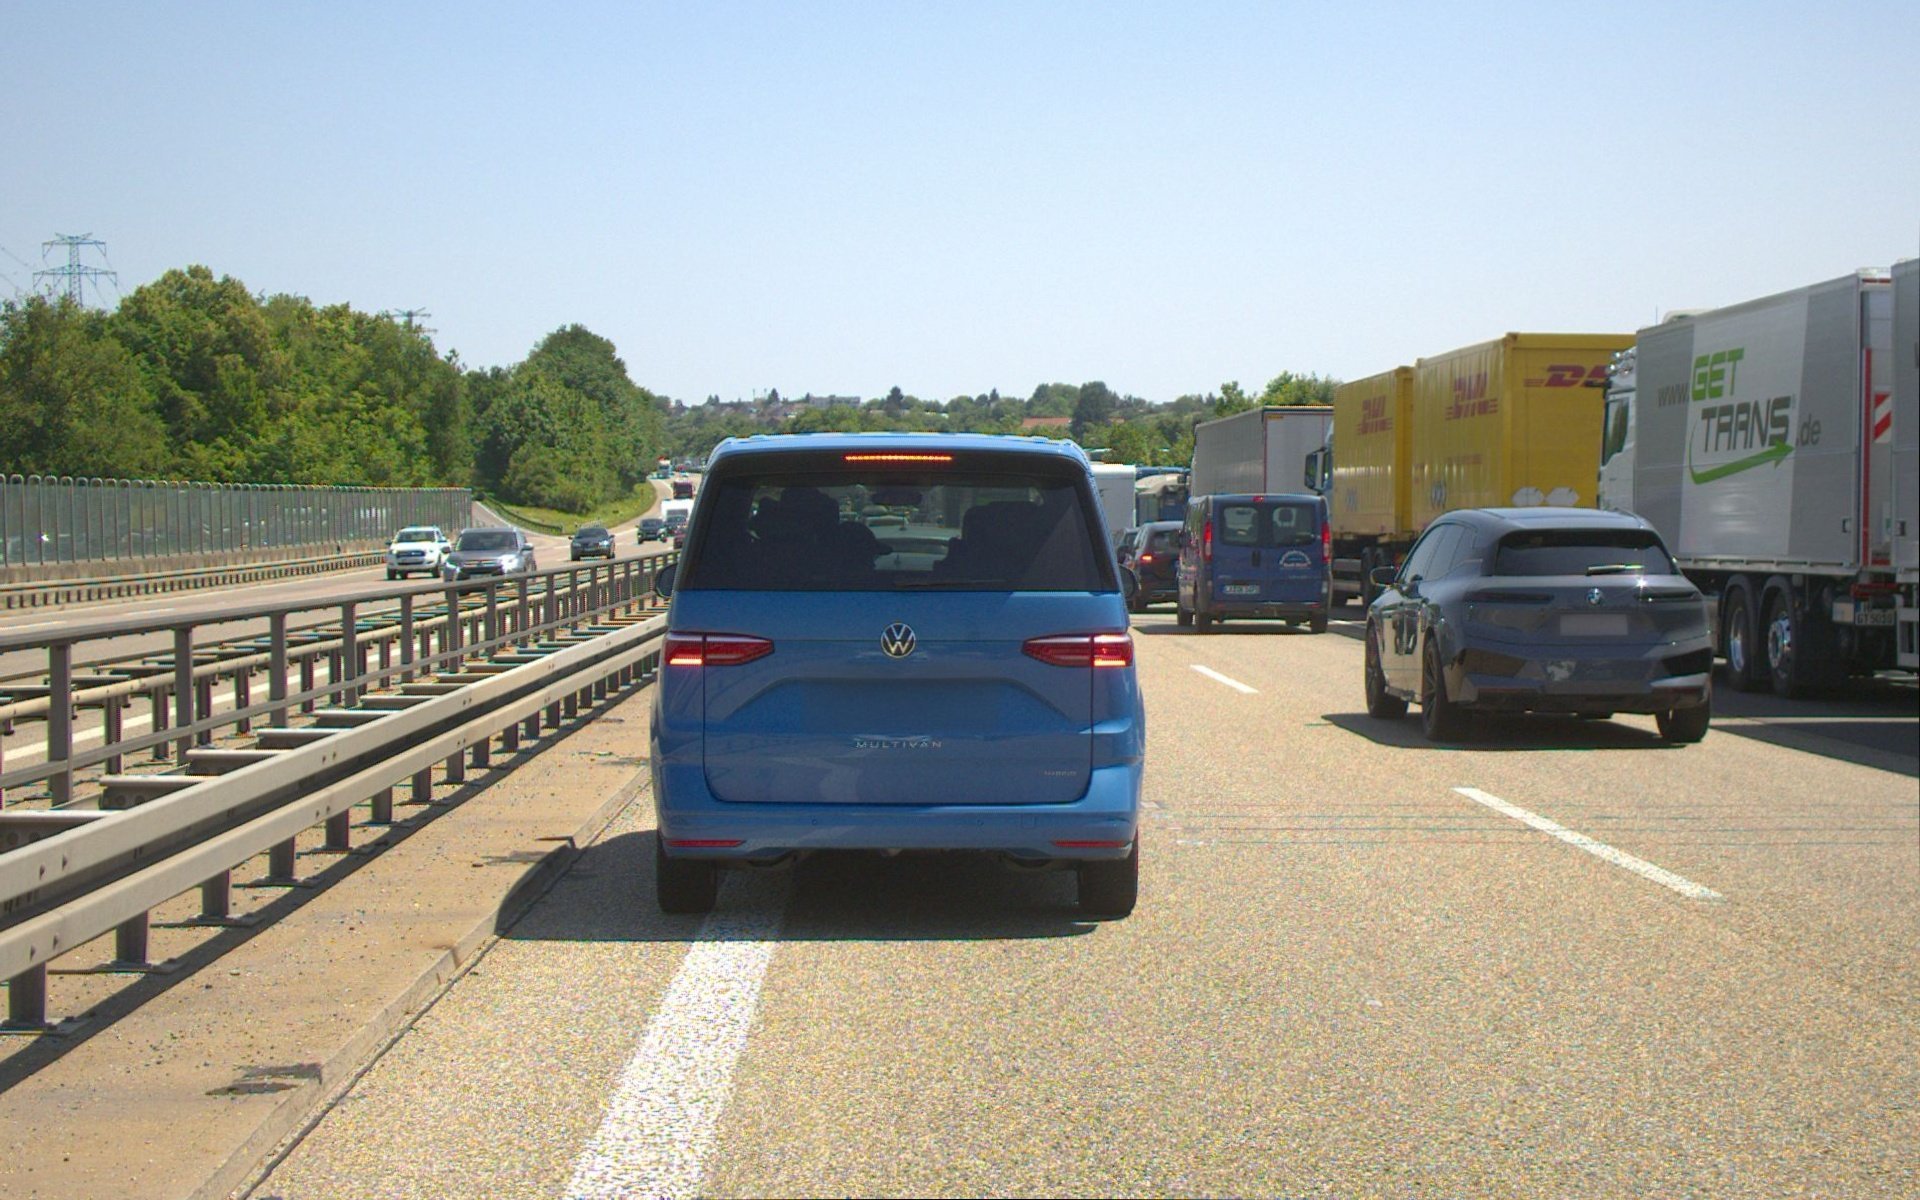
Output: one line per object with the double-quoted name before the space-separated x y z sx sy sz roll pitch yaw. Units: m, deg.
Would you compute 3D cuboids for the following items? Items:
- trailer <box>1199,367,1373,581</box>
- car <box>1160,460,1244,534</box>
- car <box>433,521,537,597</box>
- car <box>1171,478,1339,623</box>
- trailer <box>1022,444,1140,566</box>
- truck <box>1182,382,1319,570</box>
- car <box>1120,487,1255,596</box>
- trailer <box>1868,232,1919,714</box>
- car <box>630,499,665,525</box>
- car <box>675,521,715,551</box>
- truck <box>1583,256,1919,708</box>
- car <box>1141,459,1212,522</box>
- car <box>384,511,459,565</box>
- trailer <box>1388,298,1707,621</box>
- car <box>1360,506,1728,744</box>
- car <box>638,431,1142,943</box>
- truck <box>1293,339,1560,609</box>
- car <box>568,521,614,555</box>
"trailer" 7.299 -2.817 78.521 2.636 4.501 11.302 1 1 -1
"car" 6.766 -2.881 96.517 1.993 2.007 4.000 1 1 -1
"car" -10.859 -0.963 78.835 1.805 1.621 4.478 -2 1 -1
"car" 4.186 -0.735 49.414 1.962 1.986 4.294 0 1 -1
"trailer" 3.094 -2.450 90.450 2.569 2.980 10.663 1 1 -1
"truck" 7.174 -3.026 85.682 2.667 4.469 6.850 1 1 -1
"car" 3.874 -1.030 59.208 1.993 1.809 4.000 0 1 -1
"trailer" 8.769 -0.903 23.717 2.698 3.687 8.016 0 1 -1
"car" -18.605 -5.267 204.866 1.729 1.486 4.420 -2 2 -1
"car" -12.432 -3.018 161.278 1.597 1.313 4.342 -2 2 -1
"truck" 8.486 -1.099 33.241 2.656 3.635 11.012 0 2 -1
"car" 7.148 -3.615 113.978 1.993 2.007 4.462 -1 1 -1
"car" -19.262 -2.255 123.179 1.993 1.878 5.257 0 1 -2
"trailer" 8.308 -1.937 49.832 2.864 4.224 9.012 1 1 -1
"car" 4.283 0.118 25.897 1.962 1.639 4.294 0 1 -1
"car" -0.289 0.277 14.633 1.820 1.851 4.075 1 1 -1
"truck" 7.907 -2.121 59.904 2.836 4.228 11.012 1 1 -1
"car" -16.113 -2.722 150.139 1.597 1.345 4.180 -2 2 -1
